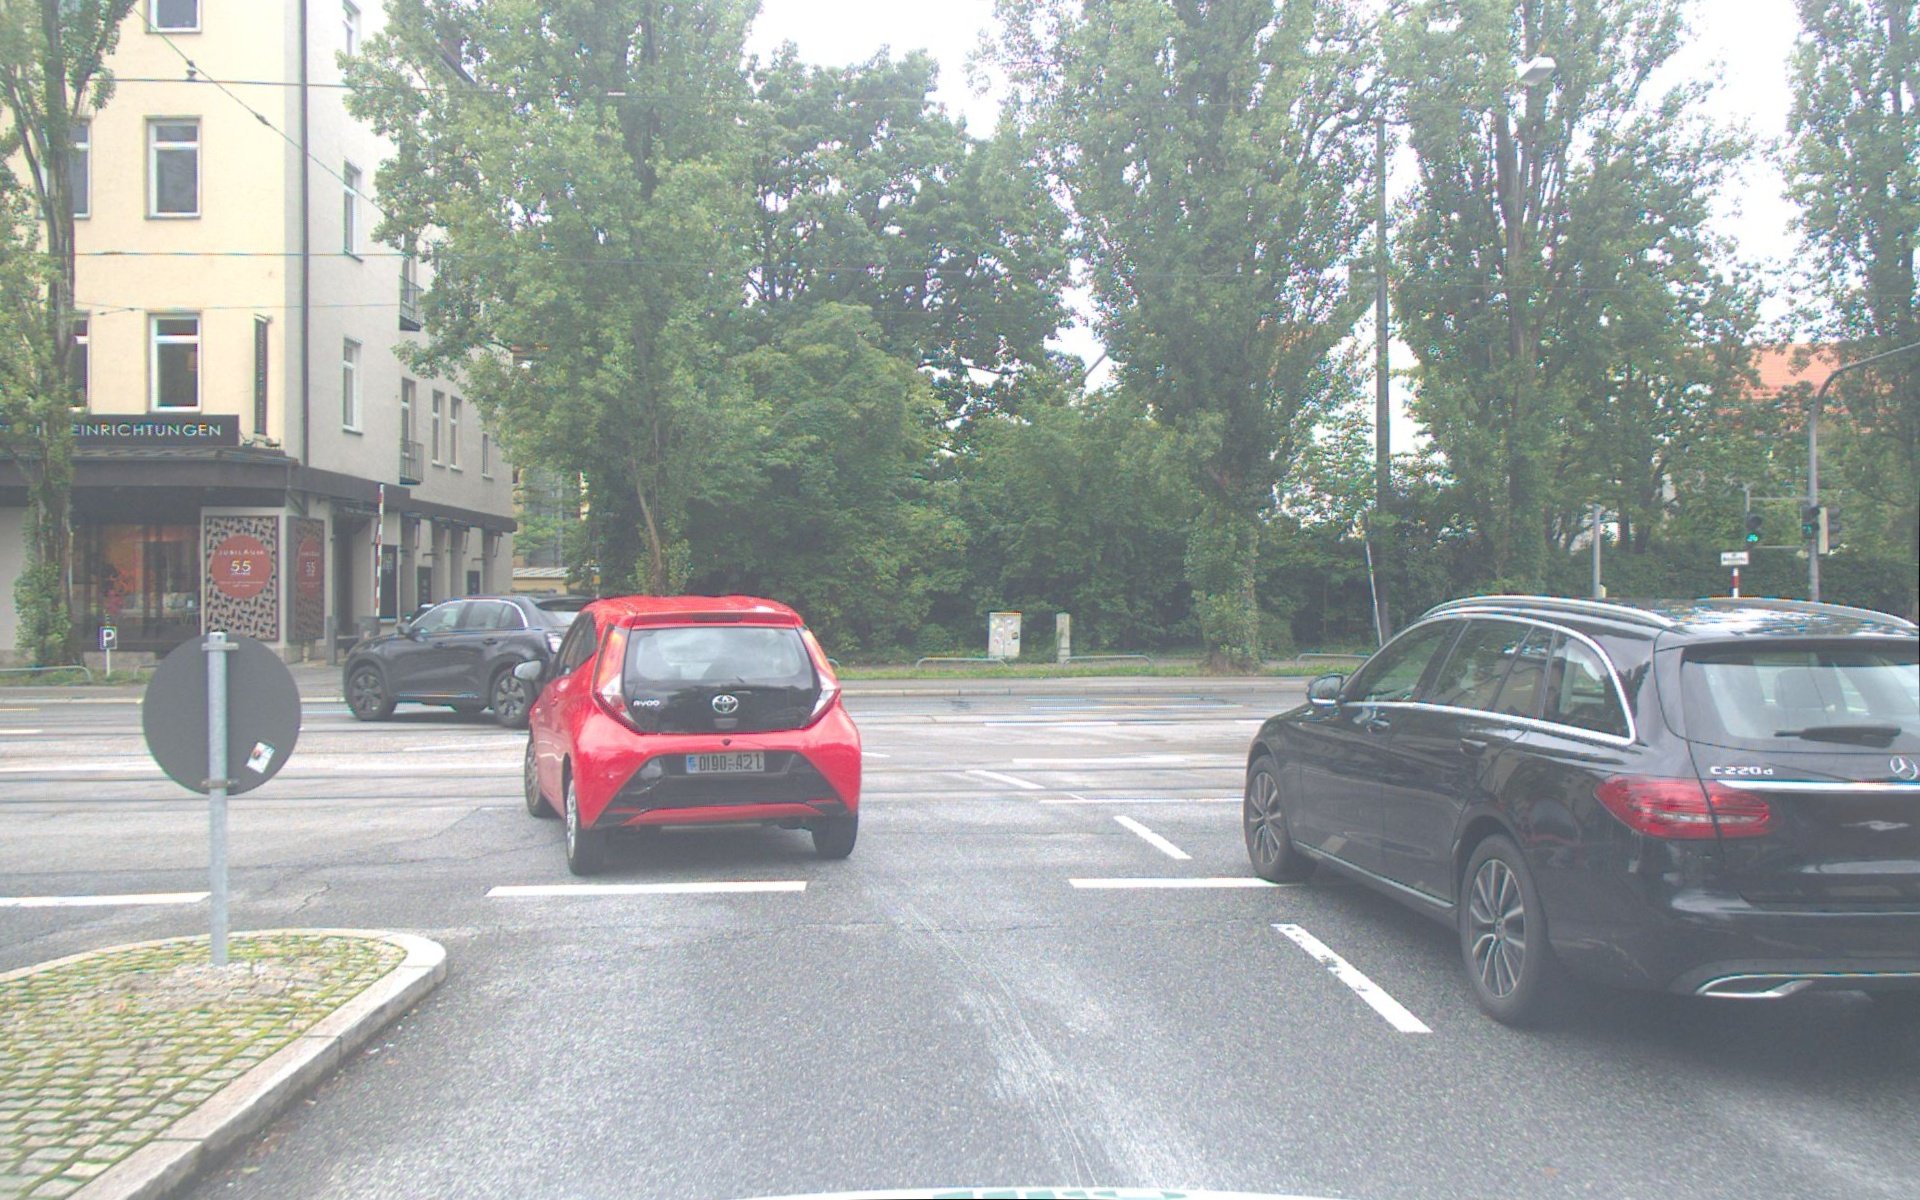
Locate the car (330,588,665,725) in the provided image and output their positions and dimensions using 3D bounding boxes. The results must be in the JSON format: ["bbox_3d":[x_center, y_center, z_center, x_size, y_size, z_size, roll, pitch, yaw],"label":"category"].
[{"bbox_3d":[-5.644,0.645,20.074,3.915,1.512,1.782,-1,-1,33],"label":"car"}]

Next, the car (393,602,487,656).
[{"bbox_3d":[-14.908,0.788,47.592,1.691,1.467,3.996,0,0,-5],"label":"car"}]

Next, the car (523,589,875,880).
[{"bbox_3d":[-1.757,0.677,10.236,1.604,1.465,3.358,0,0,-19],"label":"car"}]

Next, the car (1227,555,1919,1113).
[{"bbox_3d":[2.646,0.654,7.115,1.827,1.576,4.698,0,0,-6],"label":"car"}]
